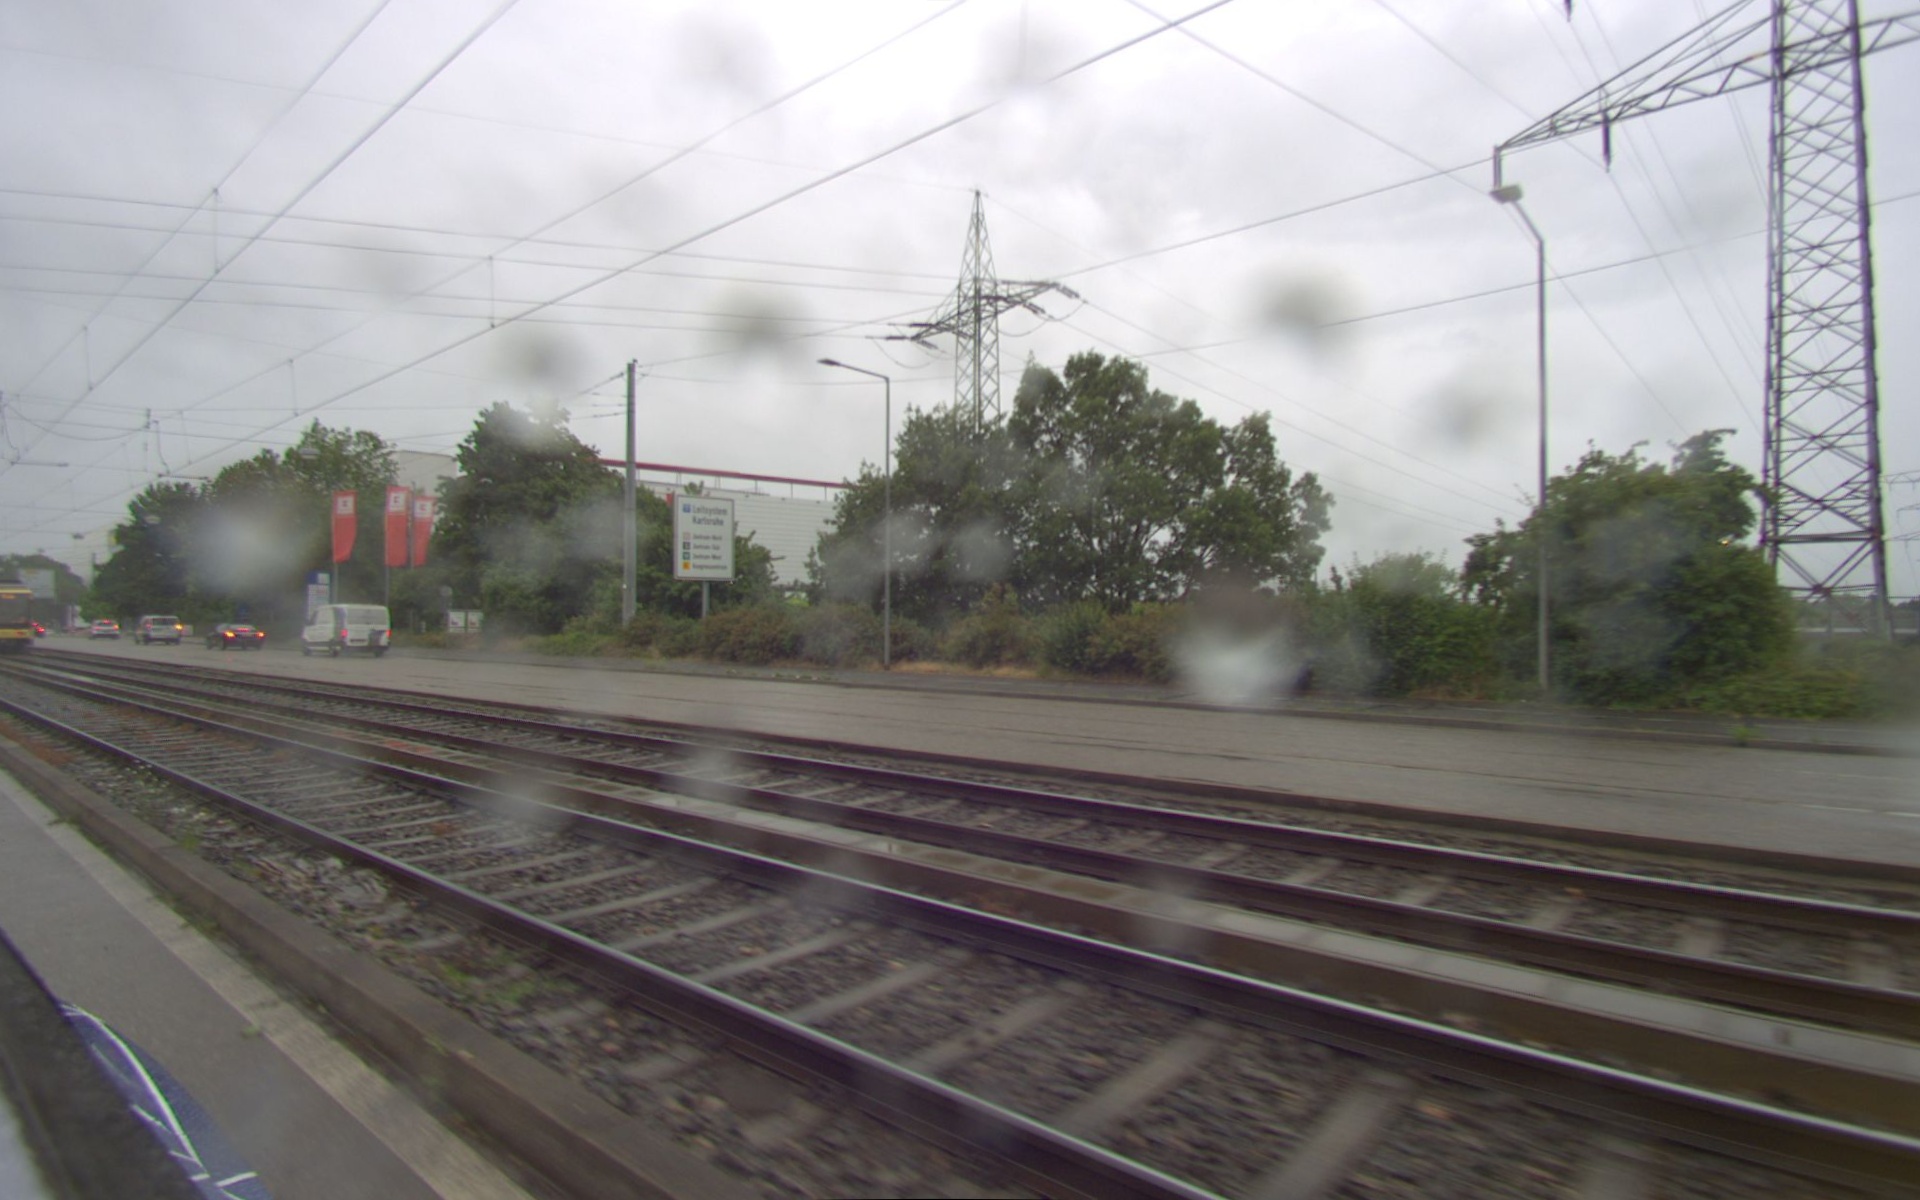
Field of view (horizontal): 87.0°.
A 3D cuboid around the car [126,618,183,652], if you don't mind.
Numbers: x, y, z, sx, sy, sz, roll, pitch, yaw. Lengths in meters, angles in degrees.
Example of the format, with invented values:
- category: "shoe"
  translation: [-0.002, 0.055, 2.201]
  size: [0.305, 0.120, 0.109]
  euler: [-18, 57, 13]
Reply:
- category: "car"
  translation: [-53.374, 2.300, 67.017]
  size: [4.727, 2.116, 2.068]
  euler: [-2, -1, 41]

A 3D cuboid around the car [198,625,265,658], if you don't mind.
- category: "car"
  translation: [-39.727, 2.258, 55.131]
  size: [4.727, 1.653, 1.877]
  euler: [-2, -1, 41]

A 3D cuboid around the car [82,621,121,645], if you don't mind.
- category: "car"
  translation: [-71.752, 2.781, 84.549]
  size: [3.997, 1.929, 1.844]
  euler: [-2, -1, 41]

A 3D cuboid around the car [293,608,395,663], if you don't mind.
- category: "car"
  translation: [-27.884, 1.653, 45.695]
  size: [5.979, 2.316, 2.128]
  euler: [-2, -5, 41]

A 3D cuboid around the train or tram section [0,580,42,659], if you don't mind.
- category: "train or tram section"
  translation: [-53.040, 1.230, 54.607]
  size: [19.517, 3.733, 2.856]
  euler: [-2, -1, 41]
